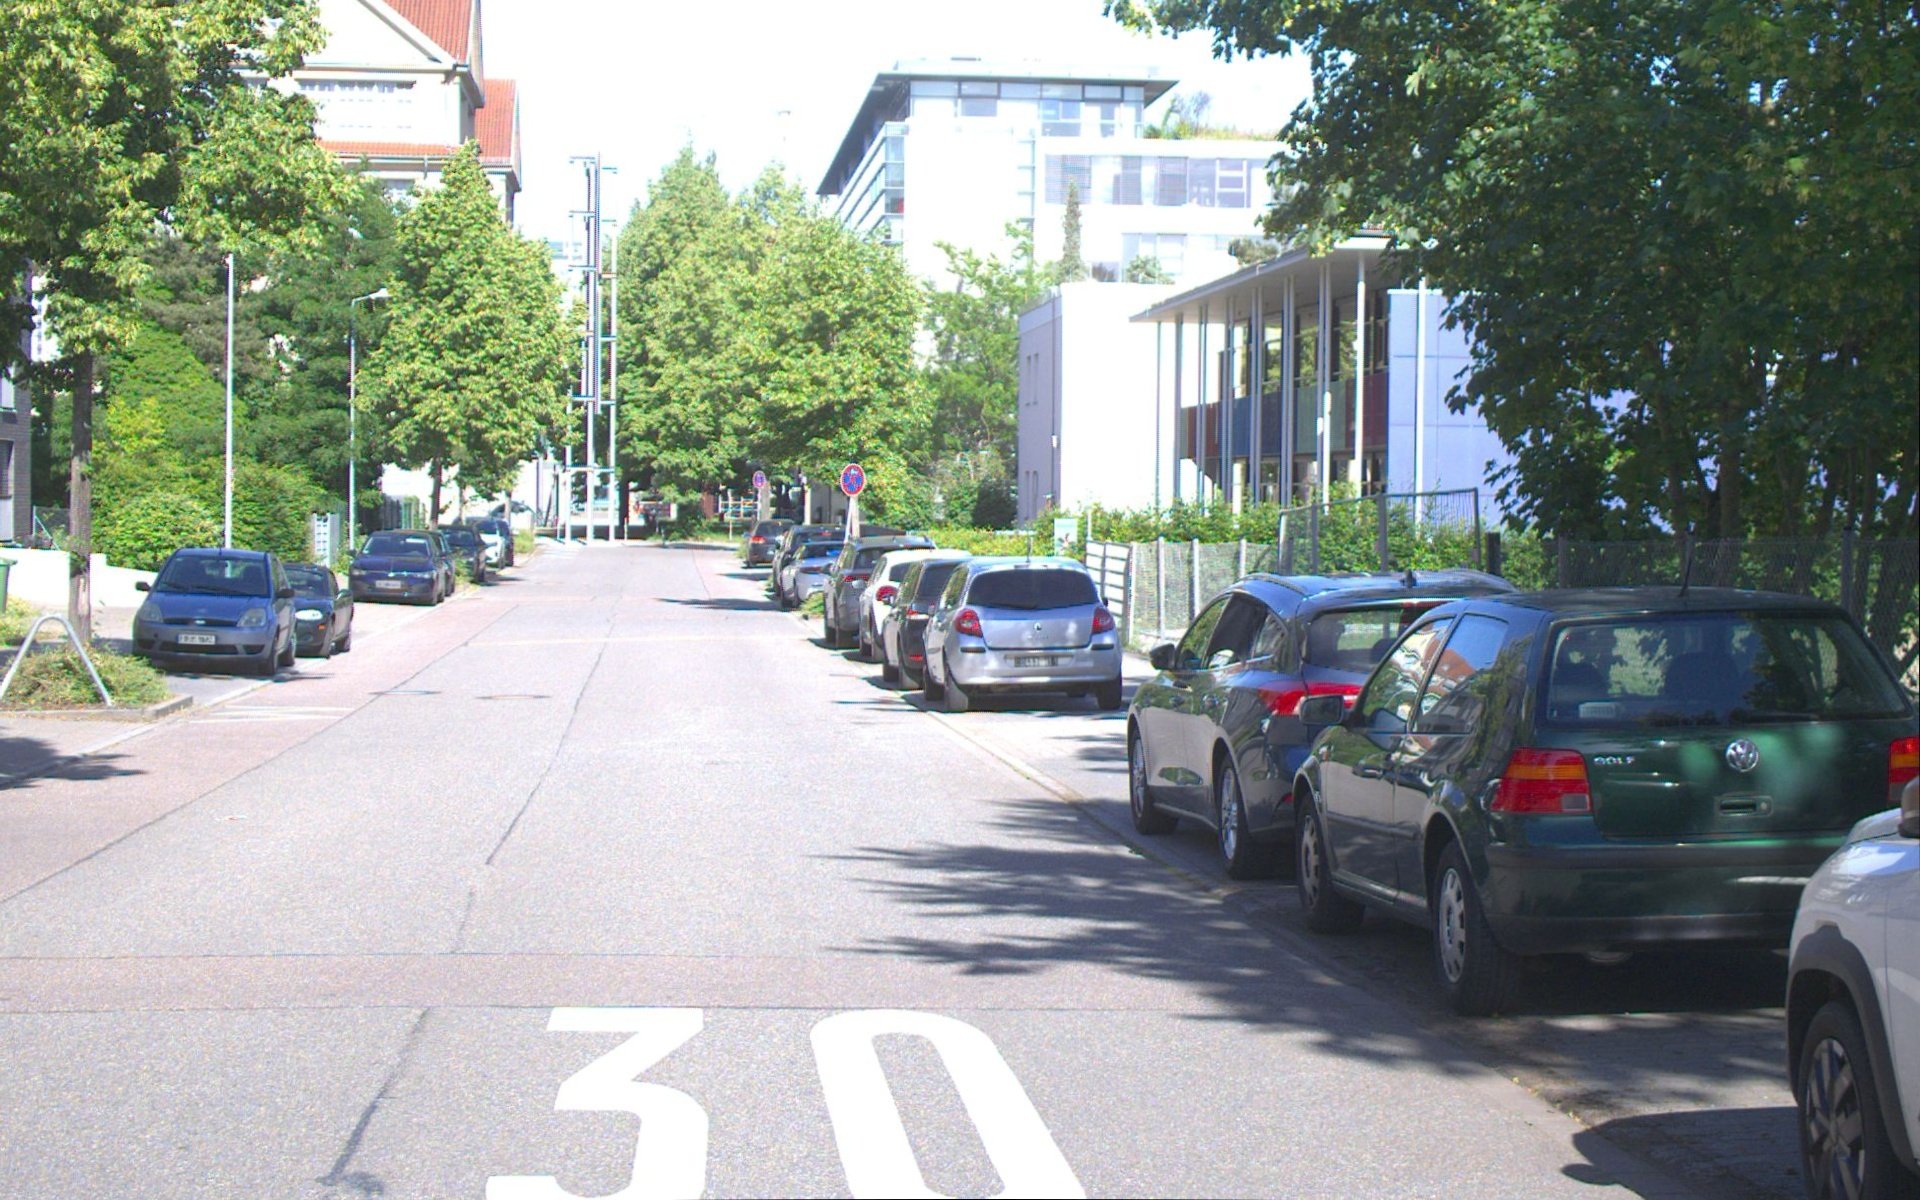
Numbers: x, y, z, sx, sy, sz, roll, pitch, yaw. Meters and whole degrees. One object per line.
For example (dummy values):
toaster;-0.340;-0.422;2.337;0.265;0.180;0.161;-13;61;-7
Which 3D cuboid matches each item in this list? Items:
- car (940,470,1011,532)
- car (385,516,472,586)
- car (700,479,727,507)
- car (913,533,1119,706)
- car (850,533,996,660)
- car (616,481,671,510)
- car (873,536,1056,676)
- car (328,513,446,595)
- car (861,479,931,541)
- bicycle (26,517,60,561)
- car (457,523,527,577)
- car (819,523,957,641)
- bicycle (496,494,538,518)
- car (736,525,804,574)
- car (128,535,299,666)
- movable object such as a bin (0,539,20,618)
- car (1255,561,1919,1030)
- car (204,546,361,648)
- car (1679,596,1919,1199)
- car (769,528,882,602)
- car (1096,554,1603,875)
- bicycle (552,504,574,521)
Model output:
car;0.481;-3.274;113.848;1.993;2.006;4.001;0;2;-5
car;-11.784;-1.099;76.385;1.630;1.496;3.578;1;1;-5
car;-18.404;-7.970;256.645;1.993;2.006;4.001;1;2;-4
car;0.499;0.148;34.300;1.662;1.507;4.001;1;2;-4
car;-0.544;-0.086;46.805;1.679;1.536;3.850;1;2;-5
car;-23.478;-7.760;254.914;3.986;2.006;2.001;1;2;-4
car;-0.005;0.033;39.168;1.687;1.489;4.079;1;1;-5
car;-11.698;-0.957;70.365;1.761;1.522;4.000;3;1;-1
car;-2.131;-2.955;113.545;2.023;2.007;4.001;0;1;-5
bicycle;-18.484;-1.243;69.324;0.253;0.834;1.774;1;2;-2
car;-13.602;-1.455;100.084;1.777;1.525;4.001;0;1;-5
car;-1.137;-0.318;52.066;1.725;1.646;4.327;-1;2;-6
bicycle;-15.999;-3.387;124.167;1.467;0.839;0.336;1;2;-8
car;-5.936;-1.591;106.902;1.993;1.481;4.001;0;1;-5
car;-8.992;-0.028;41.635;1.610;1.460;3.875;0;1;-6
movable object such as a bin;-13.743;-0.313;48.928;0.607;1.087;0.637;1;2;-6
car;2.366;0.605;12.979;1.824;1.467;4.069;1;1;-5
car;-9.239;-0.071;47.127;1.598;1.213;3.876;3;2;-4
car;2.754;0.727;6.689;1.619;1.446;4.091;1;0;-3
car;-2.782;-0.734;70.311;1.829;1.417;4.235;-2;1;-8
car;1.872;0.498;17.915;1.676;1.433;4.440;1;1;-6
bicycle;-16.630;-3.668;144.130;0.373;0.681;1.080;-1;3;-41
